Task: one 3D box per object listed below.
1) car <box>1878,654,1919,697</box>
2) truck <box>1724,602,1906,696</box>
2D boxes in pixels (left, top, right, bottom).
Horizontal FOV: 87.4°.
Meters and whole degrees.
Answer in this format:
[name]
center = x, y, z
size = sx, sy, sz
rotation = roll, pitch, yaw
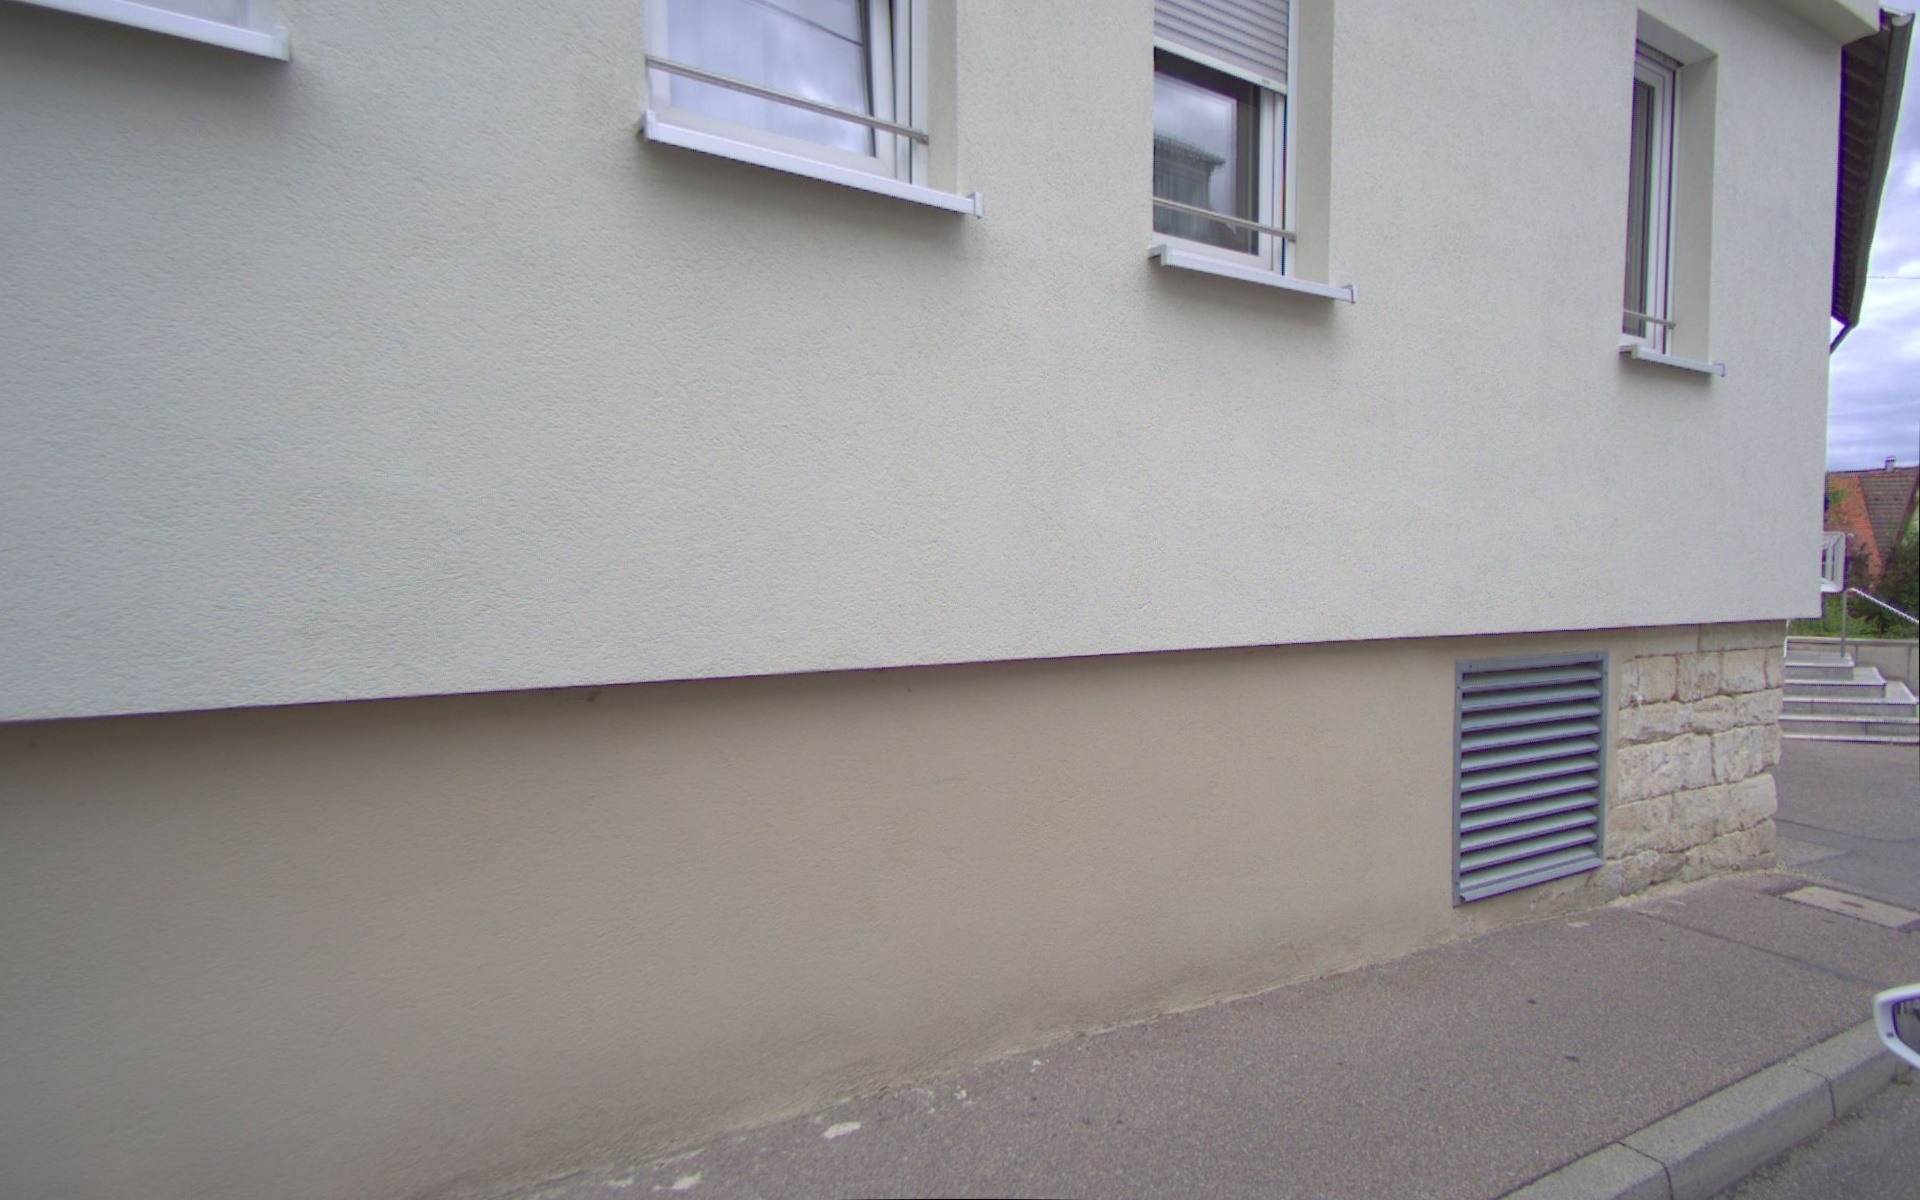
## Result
[car]
center = 35.595, 2.791, 36.437
size = 1.703, 1.525, 4.054
rotation = 3, -2, 15
[truck]
center = 37.092, 2.121, 44.006
size = 2.630, 3.644, 8.112
rotation = 2, -2, 14
